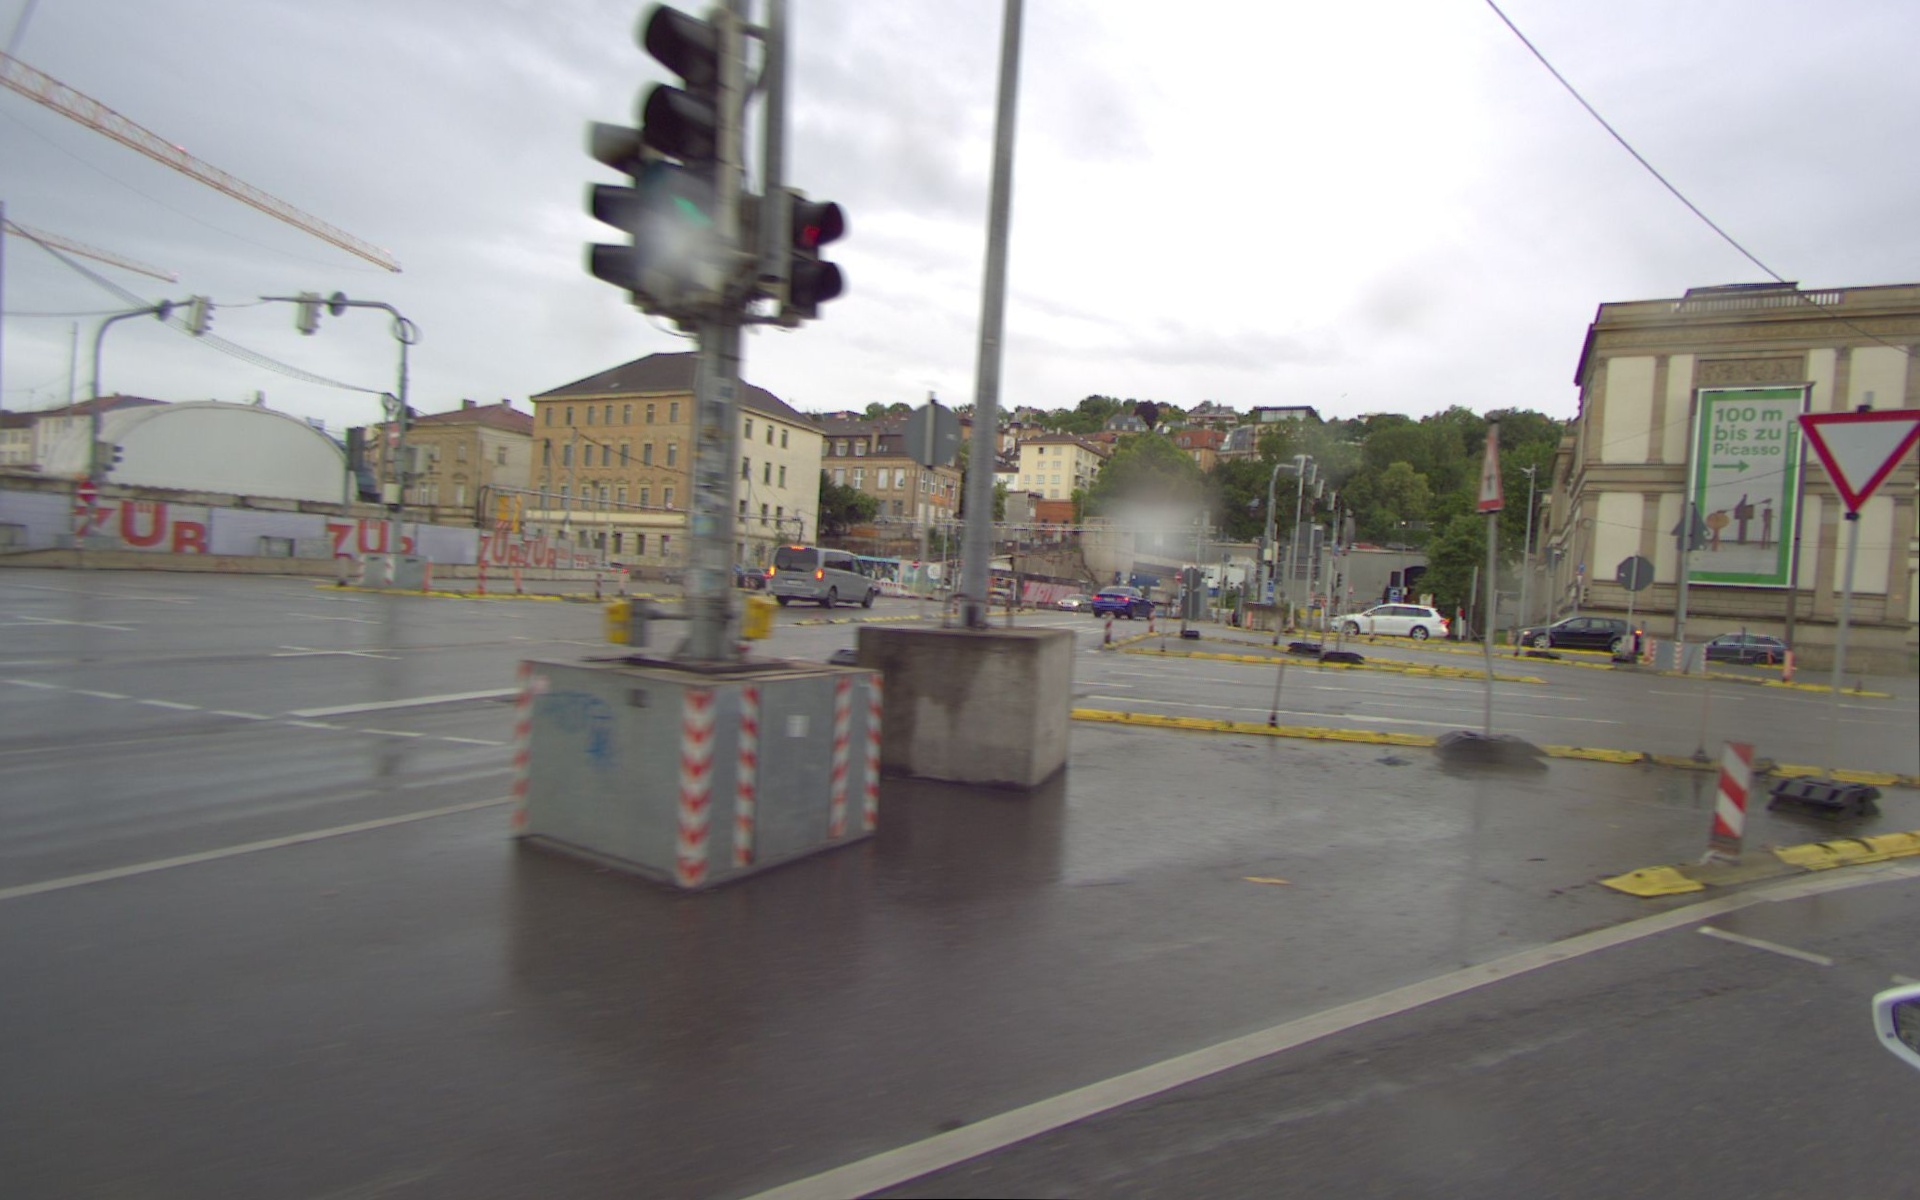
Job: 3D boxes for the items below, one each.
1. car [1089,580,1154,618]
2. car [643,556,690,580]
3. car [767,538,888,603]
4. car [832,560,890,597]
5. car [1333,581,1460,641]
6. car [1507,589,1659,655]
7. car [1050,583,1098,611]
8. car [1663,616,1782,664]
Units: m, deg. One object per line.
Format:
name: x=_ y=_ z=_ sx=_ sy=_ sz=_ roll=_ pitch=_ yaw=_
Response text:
car: x=7.258 y=-0.066 z=44.838 sx=1.961 sy=1.458 sz=3.998 roll=5 pitch=2 yaw=21
car: x=-22.631 y=-2.474 z=77.405 sx=3.356 sy=1.483 sz=1.647 roll=7 pitch=4 yaw=32
car: x=-4.240 y=-0.947 z=33.000 sx=1.961 sy=1.863 sz=4.683 roll=5 pitch=2 yaw=19
car: x=-6.590 y=-1.440 z=66.468 sx=1.979 sy=2.041 sz=4.254 roll=2 pitch=4 yaw=-33
car: x=18.031 y=0.397 z=41.557 sx=4.555 sy=2.041 sz=1.998 roll=6 pitch=4 yaw=26
car: x=23.905 y=0.781 z=38.778 sx=4.602 sy=2.041 sz=1.998 roll=6 pitch=4 yaw=26
car: x=8.985 y=-0.256 z=78.877 sx=1.966 sy=2.041 sz=3.988 roll=6 pitch=4 yaw=33
car: x=35.528 y=1.815 z=46.947 sx=4.120 sy=1.724 sz=1.819 roll=6 pitch=4 yaw=30
